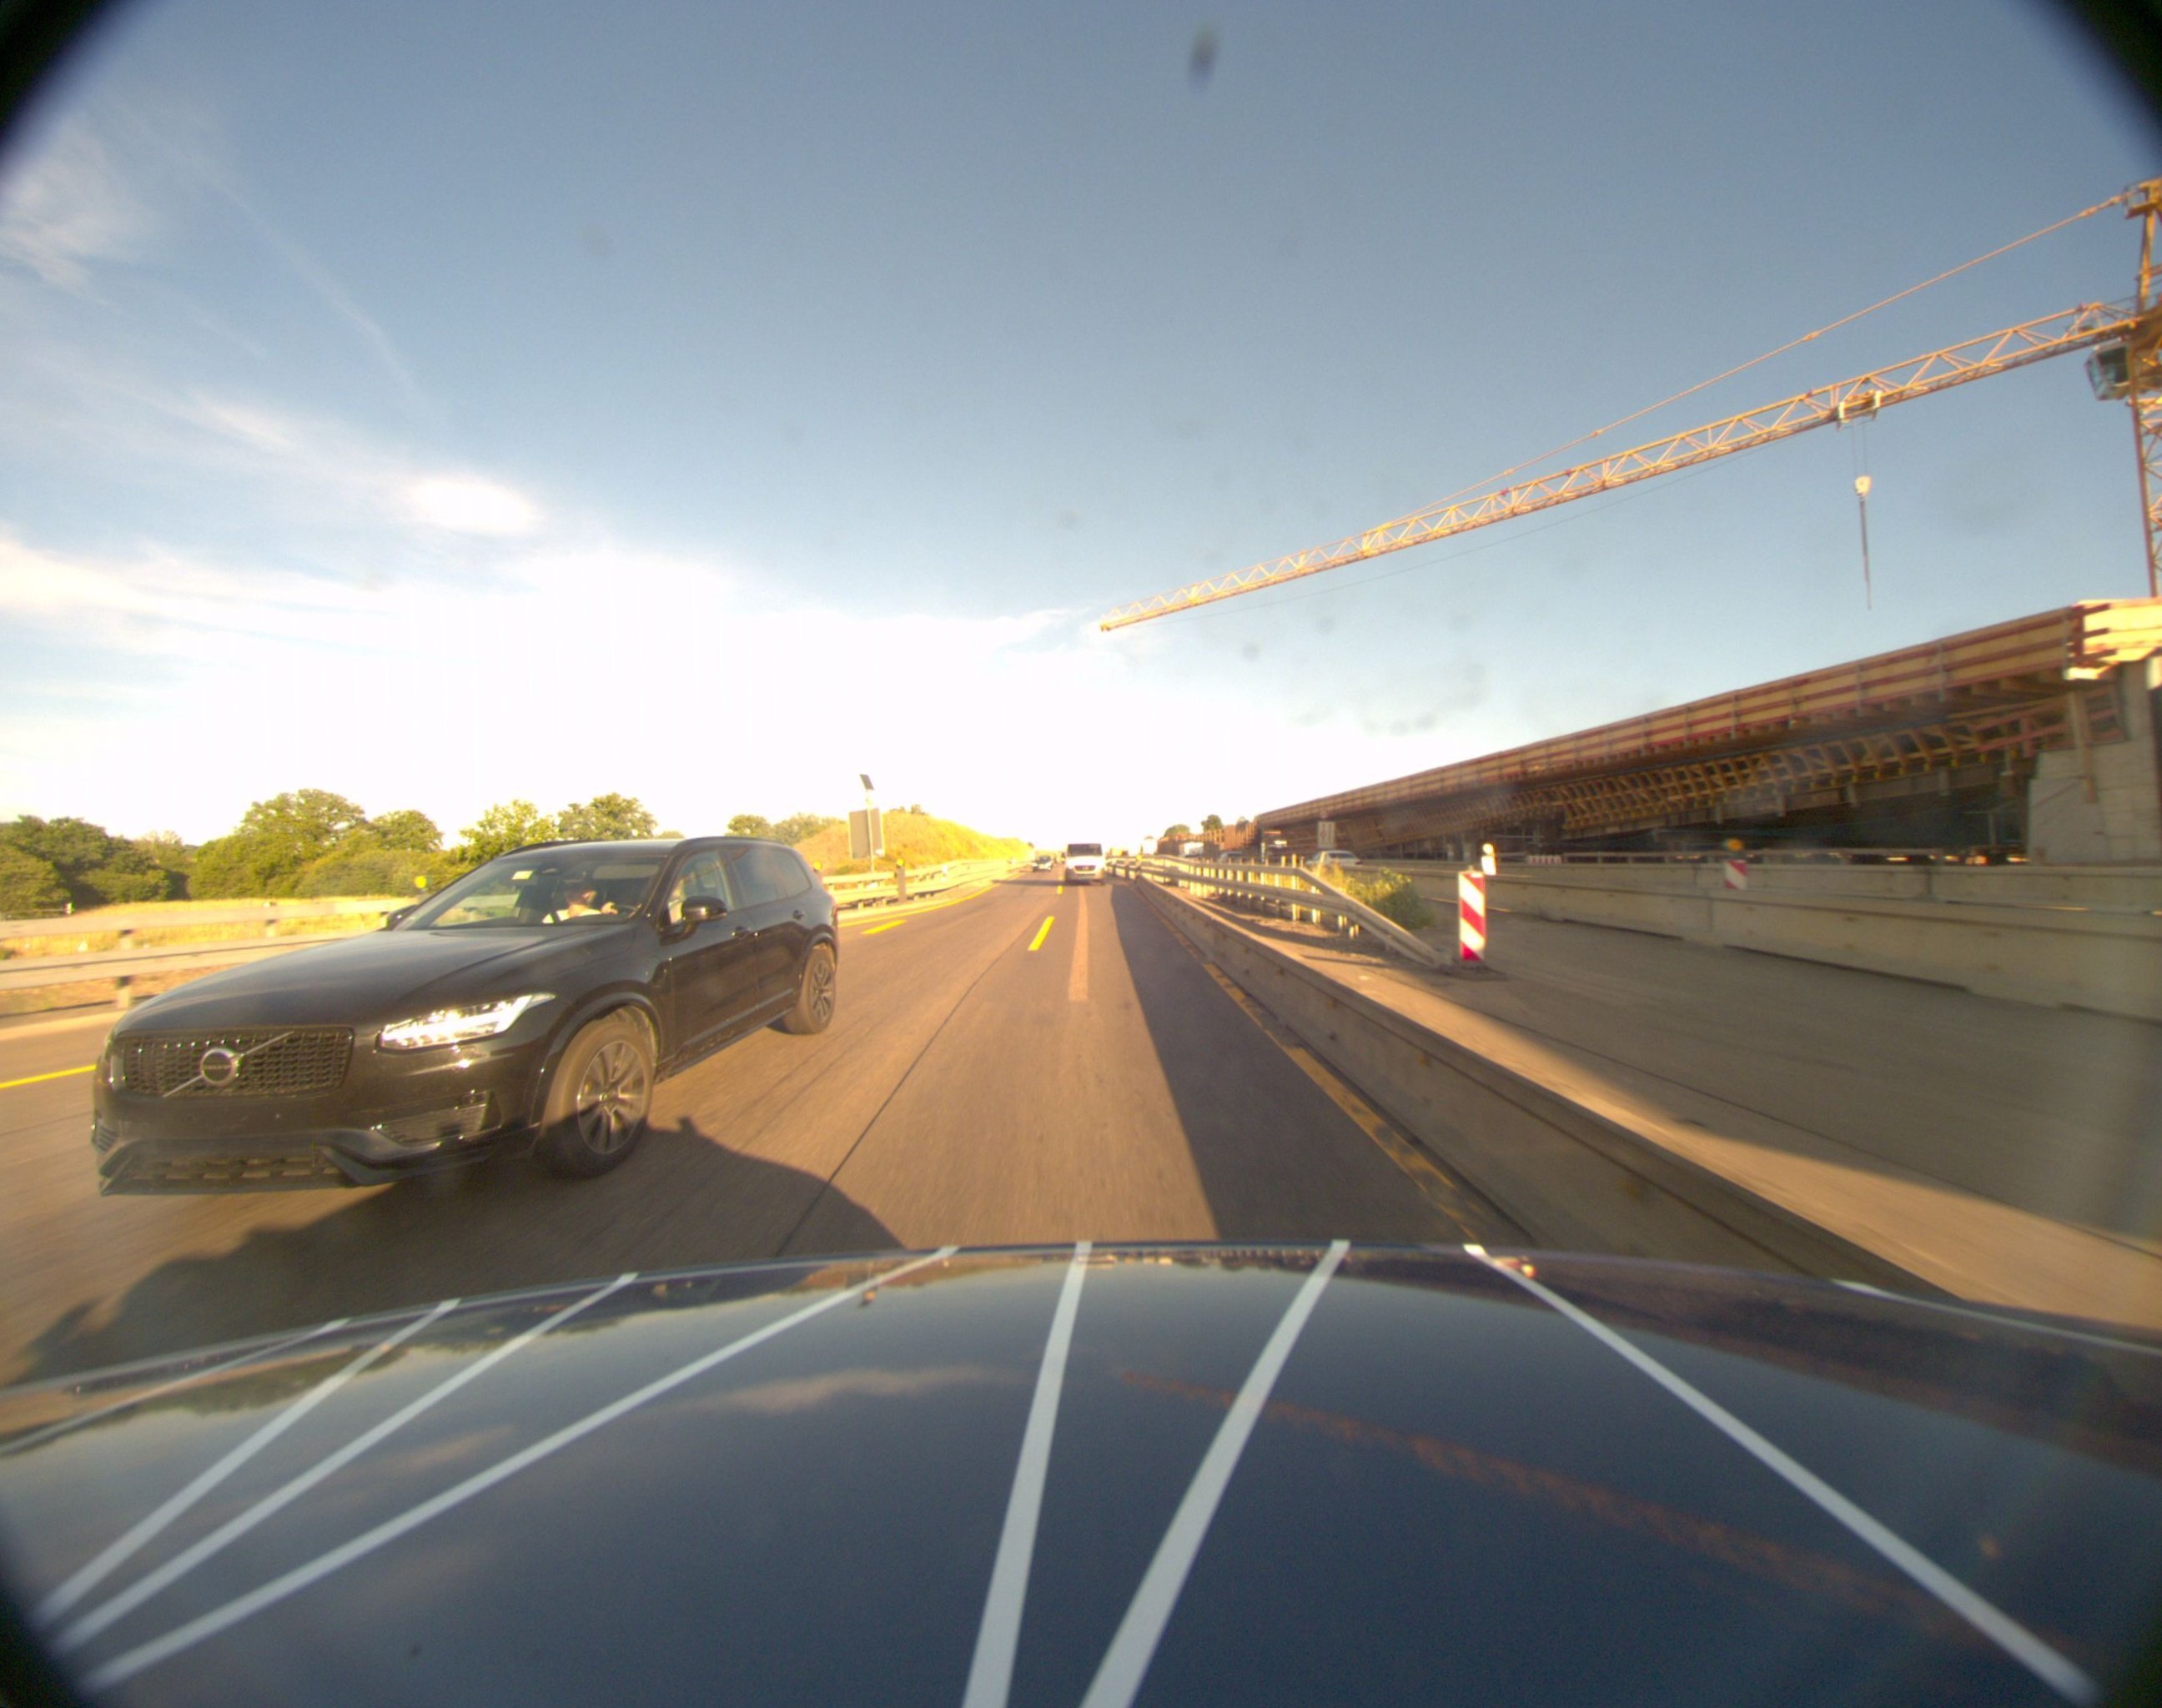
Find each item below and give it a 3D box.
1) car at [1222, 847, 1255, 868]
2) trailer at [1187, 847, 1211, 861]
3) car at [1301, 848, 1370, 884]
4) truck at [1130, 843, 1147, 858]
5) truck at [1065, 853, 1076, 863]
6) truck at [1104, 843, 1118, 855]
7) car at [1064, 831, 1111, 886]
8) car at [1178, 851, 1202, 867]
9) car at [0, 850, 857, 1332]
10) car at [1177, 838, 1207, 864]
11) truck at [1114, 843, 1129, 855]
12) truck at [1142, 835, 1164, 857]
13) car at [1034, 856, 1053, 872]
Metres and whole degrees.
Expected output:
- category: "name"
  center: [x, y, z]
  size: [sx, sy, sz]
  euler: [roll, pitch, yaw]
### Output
- category: "car"
  center: [12.232, 0.270, 59.192]
  size: [1.665, 1.382, 4.000]
  euler: [-6, 0, 1]
- category: "trailer"
  center: [13.826, 0.005, 89.183]
  size: [2.328, 1.504, 2.144]
  euler: [-2, 0, -4]
- category: "car"
  center: [12.606, 0.552, 37.908]
  size: [1.734, 1.591, 4.660]
  euler: [-2, 0, -1]
- category: "truck"
  center: [12.330, -0.735, 162.967]
  size: [2.774, 3.224, 7.161]
  euler: [-2, 0, -2]
- category: "truck"
  center: [-2.293, 0.840, 158.836]
  size: [1.999, 2.109, 7.560]
  euler: [-2, 0, -3]
- category: "truck"
  center: [10.086, -1.751, 259.516]
  size: [3.922, 3.728, 9.725]
  euler: [-3, 0, -2]
- category: "car"
  center: [0.279, 0.206, 38.389]
  size: [2.110, 2.518, 5.219]
  euler: [-2, 1, -1]
- category: "car"
  center: [11.144, 0.473, 78.224]
  size: [1.734, 1.591, 4.112]
  euler: [-2, 0, -2]
- category: "car"
  center: [-3.265, 0.857, 5.190]
  size: [1.902, 1.703, 4.887]
  euler: [-2, 0, 1]
- category: "car"
  center: [13.583, -0.361, 93.329]
  size: [2.334, 2.949, 6.160]
  euler: [-2, 0, -3]
- category: "truck"
  center: [11.476, -1.343, 218.546]
  size: [3.344, 3.224, 10.970]
  euler: [-2, 0, -2]
- category: "truck"
  center: [12.837, -1.455, 135.957]
  size: [2.796, 3.704, 7.161]
  euler: [-2, 0, -2]
- category: "car"
  center: [-3.696, 0.940, 74.999]
  size: [1.791, 1.477, 3.999]
  euler: [-2, 0, -2]
